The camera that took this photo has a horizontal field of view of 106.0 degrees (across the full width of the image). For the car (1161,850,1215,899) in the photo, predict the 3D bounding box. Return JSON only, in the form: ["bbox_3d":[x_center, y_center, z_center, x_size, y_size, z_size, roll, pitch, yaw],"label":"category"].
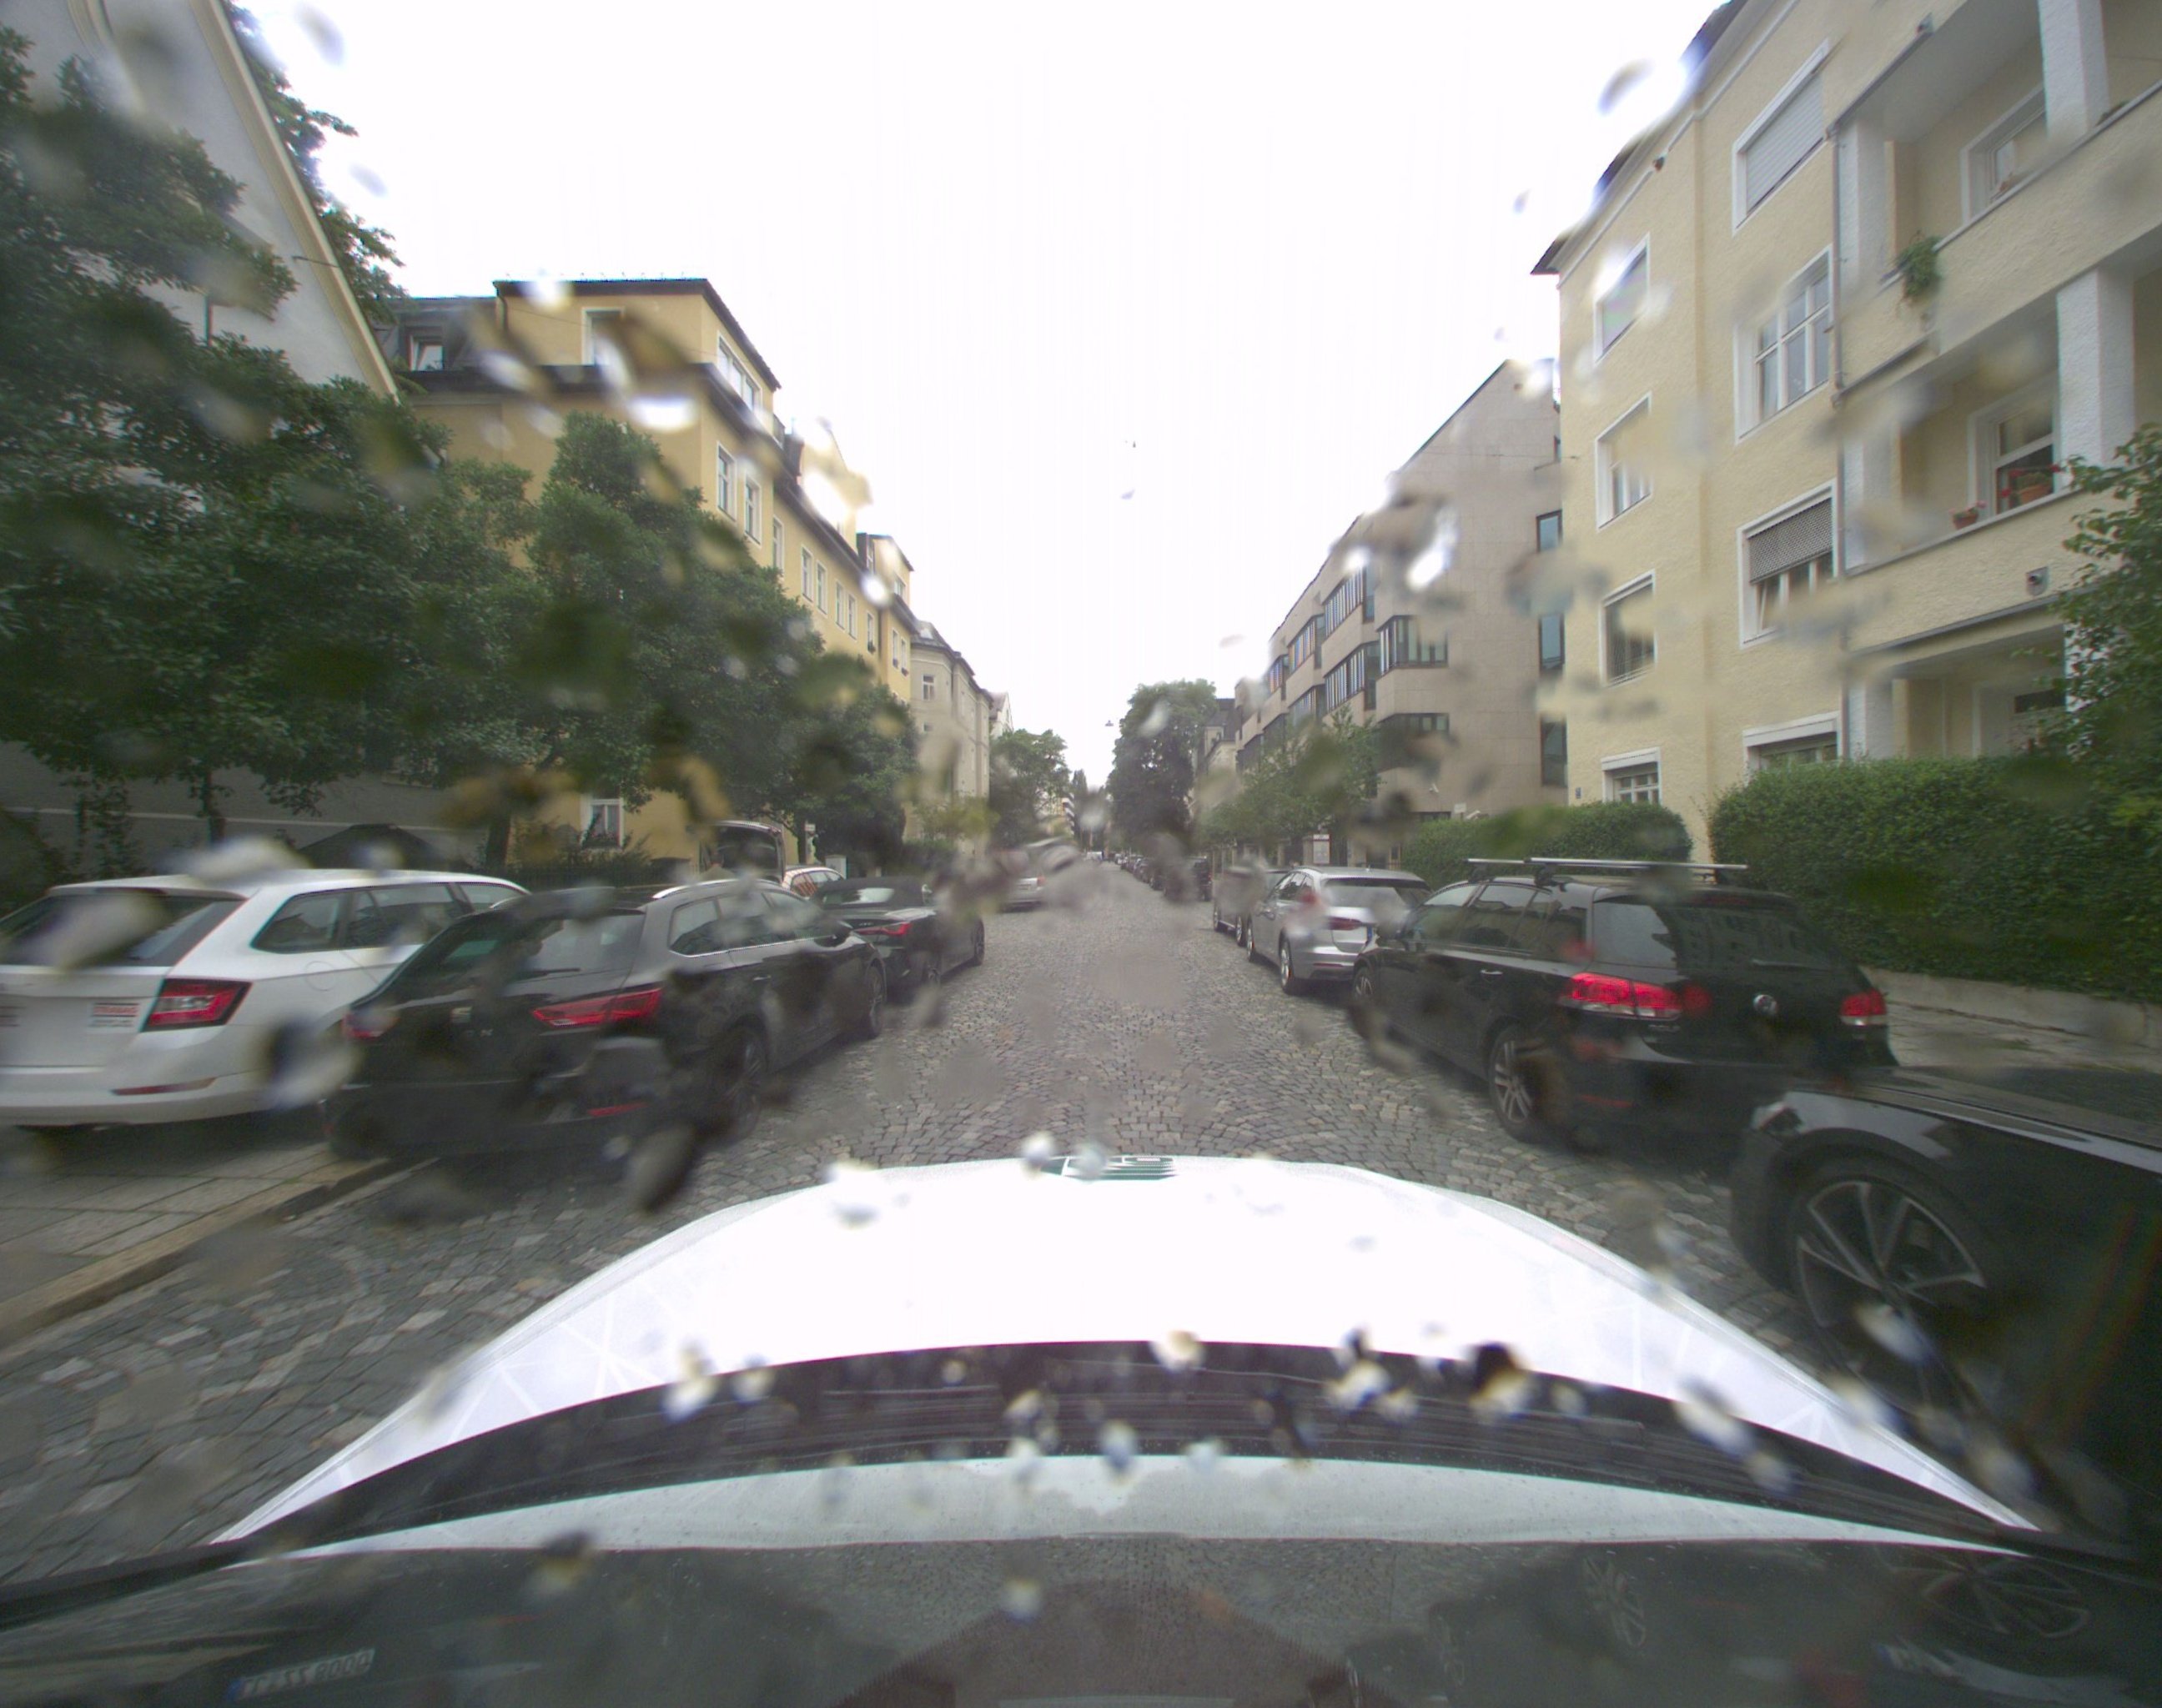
[{"bbox_3d":[4.183,0.774,32.253,1.613,1.751,3.887,2,0,1],"label":"car"}]

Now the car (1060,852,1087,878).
[{"bbox_3d":[-0.564,0.865,64.640,1.866,1.917,4.828,-3,0,1],"label":"car"}]

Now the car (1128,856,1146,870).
[{"bbox_3d":[6.148,0.980,90.012,1.829,1.490,4.424,2,0,3],"label":"car"}]

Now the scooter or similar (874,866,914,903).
[{"bbox_3d":[-6.426,1.030,28.040,0.952,1.200,1.523,2,0,2],"label":"scooter or similar"}]

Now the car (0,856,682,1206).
[{"bbox_3d":[-4.900,0.803,5.868,1.733,1.536,4.468,1,0,1],"label":"car"}]

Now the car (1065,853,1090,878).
[{"bbox_3d":[-0.269,0.964,71.038,1.986,1.917,5.178,-4,0,1],"label":"car"}]

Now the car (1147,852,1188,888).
[{"bbox_3d":[4.864,0.873,46.167,1.782,1.796,4.509,3,0,0],"label":"car"}]

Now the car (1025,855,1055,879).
[{"bbox_3d":[-3.097,0.974,62.210,1.938,1.735,4.658,2,0,1],"label":"car"}]

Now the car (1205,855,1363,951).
[{"bbox_3d":[3.757,0.826,16.077,1.986,1.552,5.016,2,0,2],"label":"car"}]

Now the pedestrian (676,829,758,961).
[{"bbox_3d":[-4.666,0.512,10.471,0.763,1.650,0.583,0,-1,3],"label":"pedestrian"}]

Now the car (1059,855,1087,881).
[{"bbox_3d":[-0.574,1.015,59.510,1.860,1.735,4.402,-3,0,-1],"label":"car"}]

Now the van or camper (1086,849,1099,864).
[{"bbox_3d":[2.083,0.480,148.635,1.986,2.652,4.002,-3,0,2],"label":"van or camper"}]

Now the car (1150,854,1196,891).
[{"bbox_3d":[4.538,0.888,40.730,1.853,1.702,4.815,2,0,2],"label":"car"}]

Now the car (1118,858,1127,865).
[{"bbox_3d":[8.617,1.506,169.403,1.783,1.520,4.002,-1,0,2],"label":"car"}]

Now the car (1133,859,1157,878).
[{"bbox_3d":[5.323,1.193,68.148,1.865,1.490,4.621,2,0,4],"label":"car"}]

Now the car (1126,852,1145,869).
[{"bbox_3d":[6.380,0.769,95.729,1.867,1.928,5.163,2,0,0],"label":"car"}]

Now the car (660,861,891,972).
[{"bbox_3d":[-4.566,0.843,13.024,1.768,1.417,4.564,1,0,3],"label":"car"}]

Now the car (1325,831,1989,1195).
[{"bbox_3d":[3.313,0.746,5.920,1.887,1.654,4.295,1,0,1],"label":"car"}]

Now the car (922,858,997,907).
[{"bbox_3d":[-4.081,0.926,28.165,1.709,1.497,4.723,1,0,2],"label":"car"}]

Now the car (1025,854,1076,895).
[{"bbox_3d":[-1.403,0.947,40.022,1.998,1.809,5.178,-2,0,3],"label":"car"}]

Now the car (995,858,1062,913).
[{"bbox_3d":[-1.640,0.965,26.649,1.707,1.562,4.392,-3,0,2],"label":"car"}]

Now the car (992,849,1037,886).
[{"bbox_3d":[-3.674,0.714,45.642,1.987,1.931,5.331,1,0,1],"label":"car"}]

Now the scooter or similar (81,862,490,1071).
[{"bbox_3d":[-6.898,0.855,7.394,1.058,1.523,2.636,-1,0,2],"label":"scooter or similar"}]

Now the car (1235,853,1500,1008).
[{"bbox_3d":[3.408,0.797,10.860,1.985,1.552,4.989,1,0,3],"label":"car"}]

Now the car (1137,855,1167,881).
[{"bbox_3d":[4.942,0.949,57.249,1.865,1.735,4.895,1,0,3],"label":"car"}]

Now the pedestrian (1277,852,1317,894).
[{"bbox_3d":[8.133,0.700,30.705,1.211,1.493,1.130,-3,-1,4],"label":"pedestrian"}]

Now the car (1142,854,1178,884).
[{"bbox_3d":[4.999,0.938,52.163,1.866,1.735,4.659,3,0,1],"label":"car"}]

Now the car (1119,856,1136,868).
[{"bbox_3d":[6.118,1.037,107.727,1.867,1.503,4.510,2,0,0],"label":"car"}]

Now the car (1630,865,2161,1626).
[{"bbox_3d":[3.022,0.804,0.719,1.812,1.488,5.052,2,0,2],"label":"car"}]

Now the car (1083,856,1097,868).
[{"bbox_3d":[1.303,1.076,115.924,1.867,1.580,4.254,-3,0,0],"label":"car"}]

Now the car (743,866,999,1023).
[{"bbox_3d":[-2.378,0.953,10.693,1.807,1.455,4.916,-3,-1,3],"label":"car"}]

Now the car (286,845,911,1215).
[{"bbox_3d":[-2.655,0.808,5.939,1.733,1.603,4.538,-2,0,1],"label":"car"}]
